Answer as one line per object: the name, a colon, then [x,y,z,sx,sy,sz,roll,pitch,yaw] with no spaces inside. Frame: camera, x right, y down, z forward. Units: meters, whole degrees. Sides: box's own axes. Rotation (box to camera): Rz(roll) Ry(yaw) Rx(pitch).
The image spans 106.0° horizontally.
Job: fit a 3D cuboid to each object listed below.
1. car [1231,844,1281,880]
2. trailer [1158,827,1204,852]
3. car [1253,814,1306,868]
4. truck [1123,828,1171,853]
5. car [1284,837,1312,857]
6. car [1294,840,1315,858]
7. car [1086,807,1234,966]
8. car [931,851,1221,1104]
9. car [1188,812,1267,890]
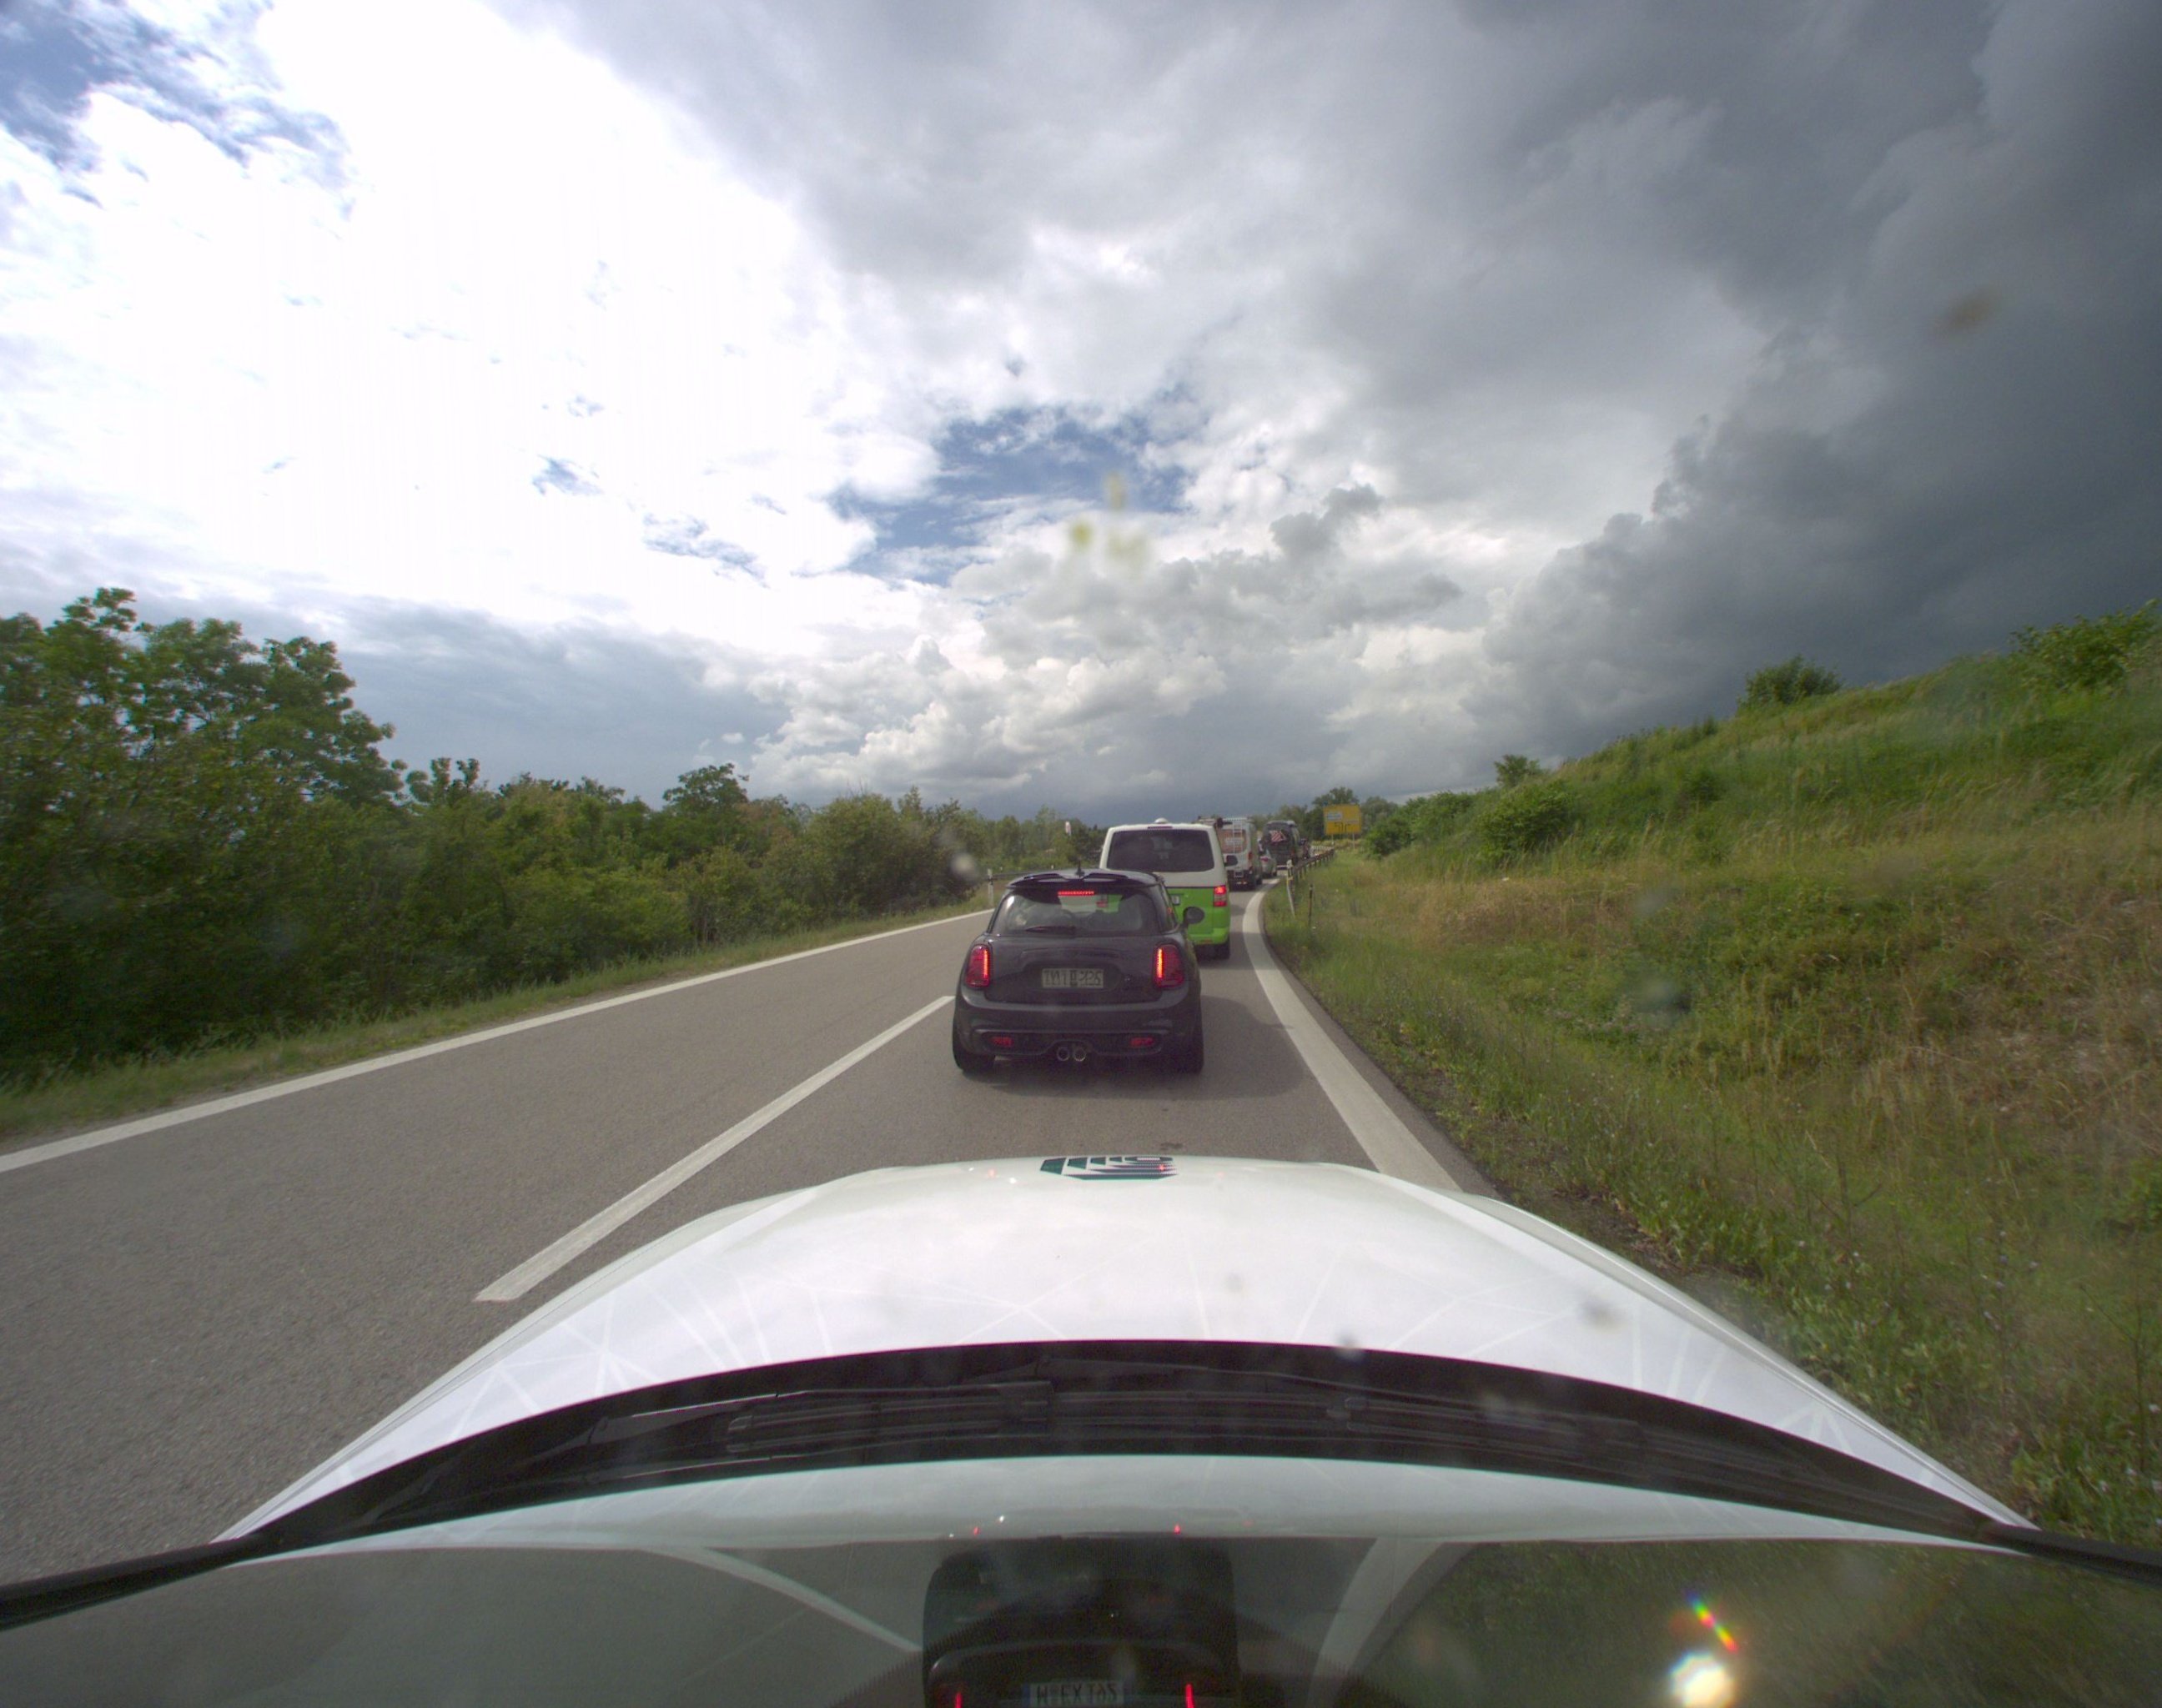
car: [8.403,0.369,38.878,1.978,1.642,3.946,-1,-1,17]
trailer: [16.504,-2.340,134.938,3.054,3.898,8.689,0,-1,-29]
car: [12.162,-0.706,49.602,2.291,3.069,6.696,-1,-1,21]
truck: [11.399,-2.287,142.741,2.856,3.976,9.925,0,-1,-33]
car: [18.247,-0.571,68.327,1.877,1.588,4.518,-1,-1,20]
car: [24.822,-0.565,90.464,2.080,1.883,4.511,-1,-1,13]
car: [1.401,0.435,12.732,1.899,2.045,4.193,-1,0,10]
car: [0.149,0.767,6.935,1.790,1.546,3.745,-1,0,6]
car: [5.583,-0.082,30.395,2.194,2.622,5.559,-1,-1,18]
